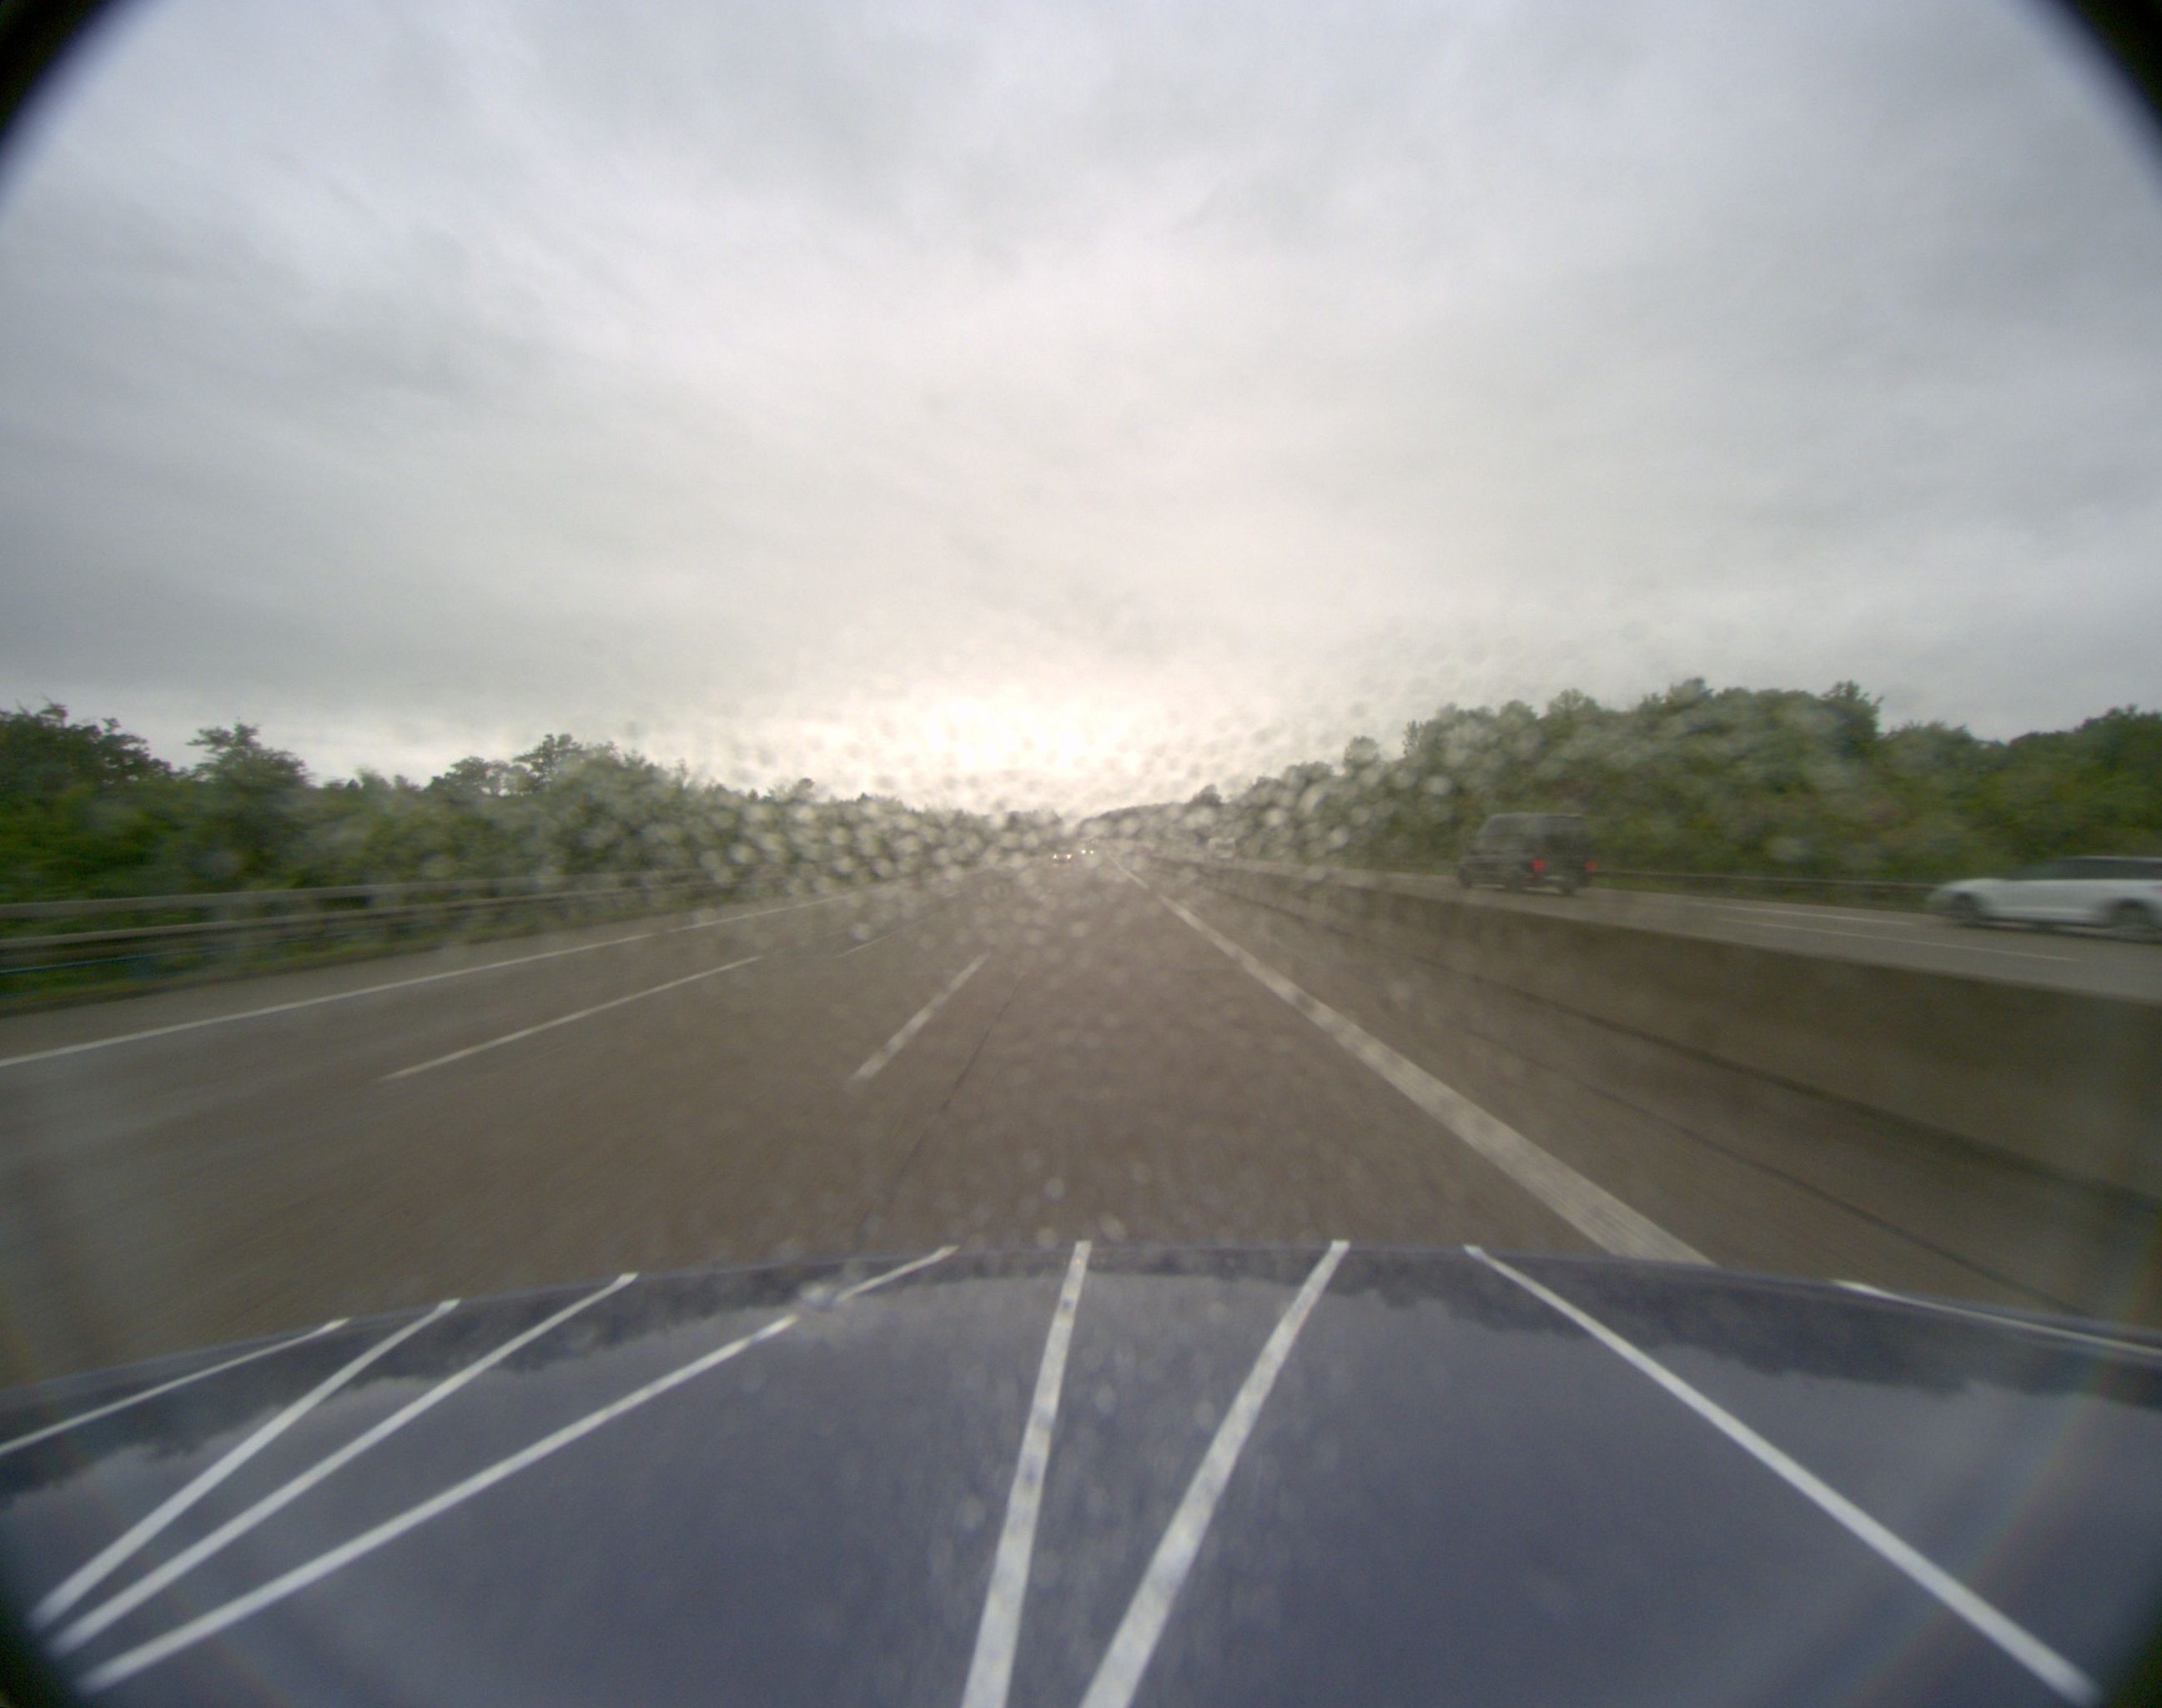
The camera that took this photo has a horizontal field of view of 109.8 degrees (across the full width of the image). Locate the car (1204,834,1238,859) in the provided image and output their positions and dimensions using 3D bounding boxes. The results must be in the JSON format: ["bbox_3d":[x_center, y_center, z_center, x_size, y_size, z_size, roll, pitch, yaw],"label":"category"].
[{"bbox_3d":[13.508,-0.743,73.743,2.282,2.318,6.174,0,1,1],"label":"car"}]

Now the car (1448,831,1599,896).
[{"bbox_3d":[16.248,0.294,28.432,1.998,2.155,6.416,0,1,1],"label":"car"}]

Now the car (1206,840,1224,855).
[{"bbox_3d":[18.202,-0.892,103.608,1.746,1.893,4.529,0,1,1],"label":"car"}]

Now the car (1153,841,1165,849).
[{"bbox_3d":[15.744,-1.873,154.036,1.998,1.678,4.916,0,1,1],"label":"car"}]

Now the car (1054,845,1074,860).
[{"bbox_3d":[-1.762,-0.125,80.488,1.932,1.521,4.298,0,0,2],"label":"car"}]

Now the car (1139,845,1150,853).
[{"bbox_3d":[11.495,-0.895,137.383,1.638,1.404,4.366,1,1,1],"label":"car"}]

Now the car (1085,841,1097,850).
[{"bbox_3d":[1.849,-1.521,135.979,2.009,1.456,4.000,0,1,4],"label":"car"}]

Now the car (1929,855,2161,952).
[{"bbox_3d":[19.333,0.868,14.462,1.719,1.576,4.144,1,1,1],"label":"car"}]
